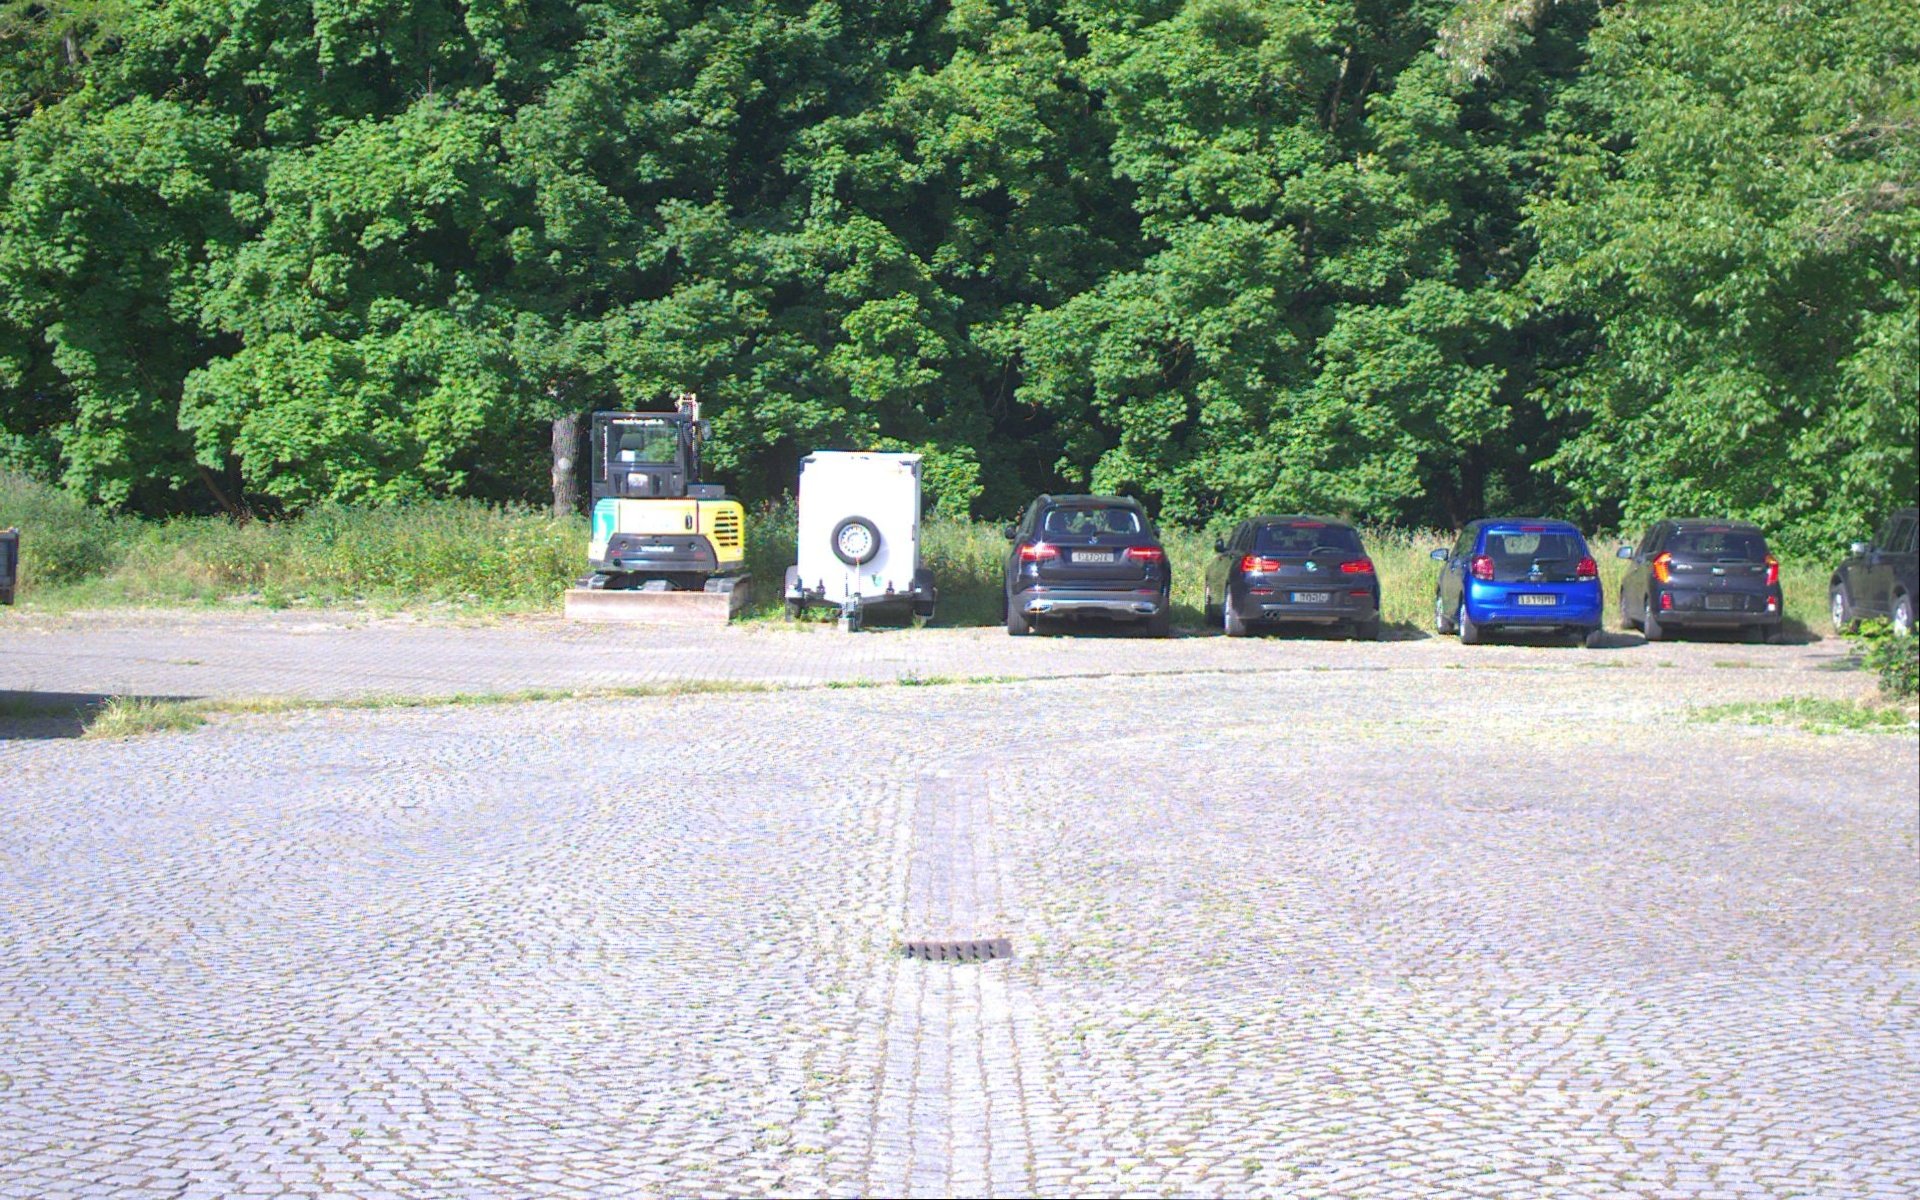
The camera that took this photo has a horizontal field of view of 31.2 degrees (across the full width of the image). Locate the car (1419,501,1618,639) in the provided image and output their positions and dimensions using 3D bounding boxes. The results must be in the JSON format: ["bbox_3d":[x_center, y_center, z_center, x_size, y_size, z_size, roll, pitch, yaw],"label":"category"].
[{"bbox_3d":[6.621,-0.399,41.106,1.780,1.453,3.790,1,3,1],"label":"car"}]

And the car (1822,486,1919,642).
[{"bbox_3d":[11.949,-0.458,41.611,1.874,1.625,4.274,1,4,0],"label":"car"}]

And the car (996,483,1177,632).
[{"bbox_3d":[1.447,-0.548,40.932,1.964,1.584,4.132,1,3,0],"label":"car"}]

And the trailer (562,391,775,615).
[{"bbox_3d":[-3.536,-1.238,42.191,2.258,2.529,2.851,1,5,1],"label":"trailer"}]

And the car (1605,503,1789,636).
[{"bbox_3d":[8.992,-0.408,42.196,1.739,1.446,3.724,2,3,5],"label":"car"}]

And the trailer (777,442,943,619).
[{"bbox_3d":[-1.184,-0.885,41.903,1.818,2.043,2.850,1,3,1],"label":"trailer"}]

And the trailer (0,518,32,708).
[{"bbox_3d":[-8.424,0.104,23.835,2.640,1.409,4.862,1,1,0],"label":"trailer"}]

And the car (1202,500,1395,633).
[{"bbox_3d":[3.991,-0.440,41.050,1.889,1.406,3.790,1,3,0],"label":"car"}]
